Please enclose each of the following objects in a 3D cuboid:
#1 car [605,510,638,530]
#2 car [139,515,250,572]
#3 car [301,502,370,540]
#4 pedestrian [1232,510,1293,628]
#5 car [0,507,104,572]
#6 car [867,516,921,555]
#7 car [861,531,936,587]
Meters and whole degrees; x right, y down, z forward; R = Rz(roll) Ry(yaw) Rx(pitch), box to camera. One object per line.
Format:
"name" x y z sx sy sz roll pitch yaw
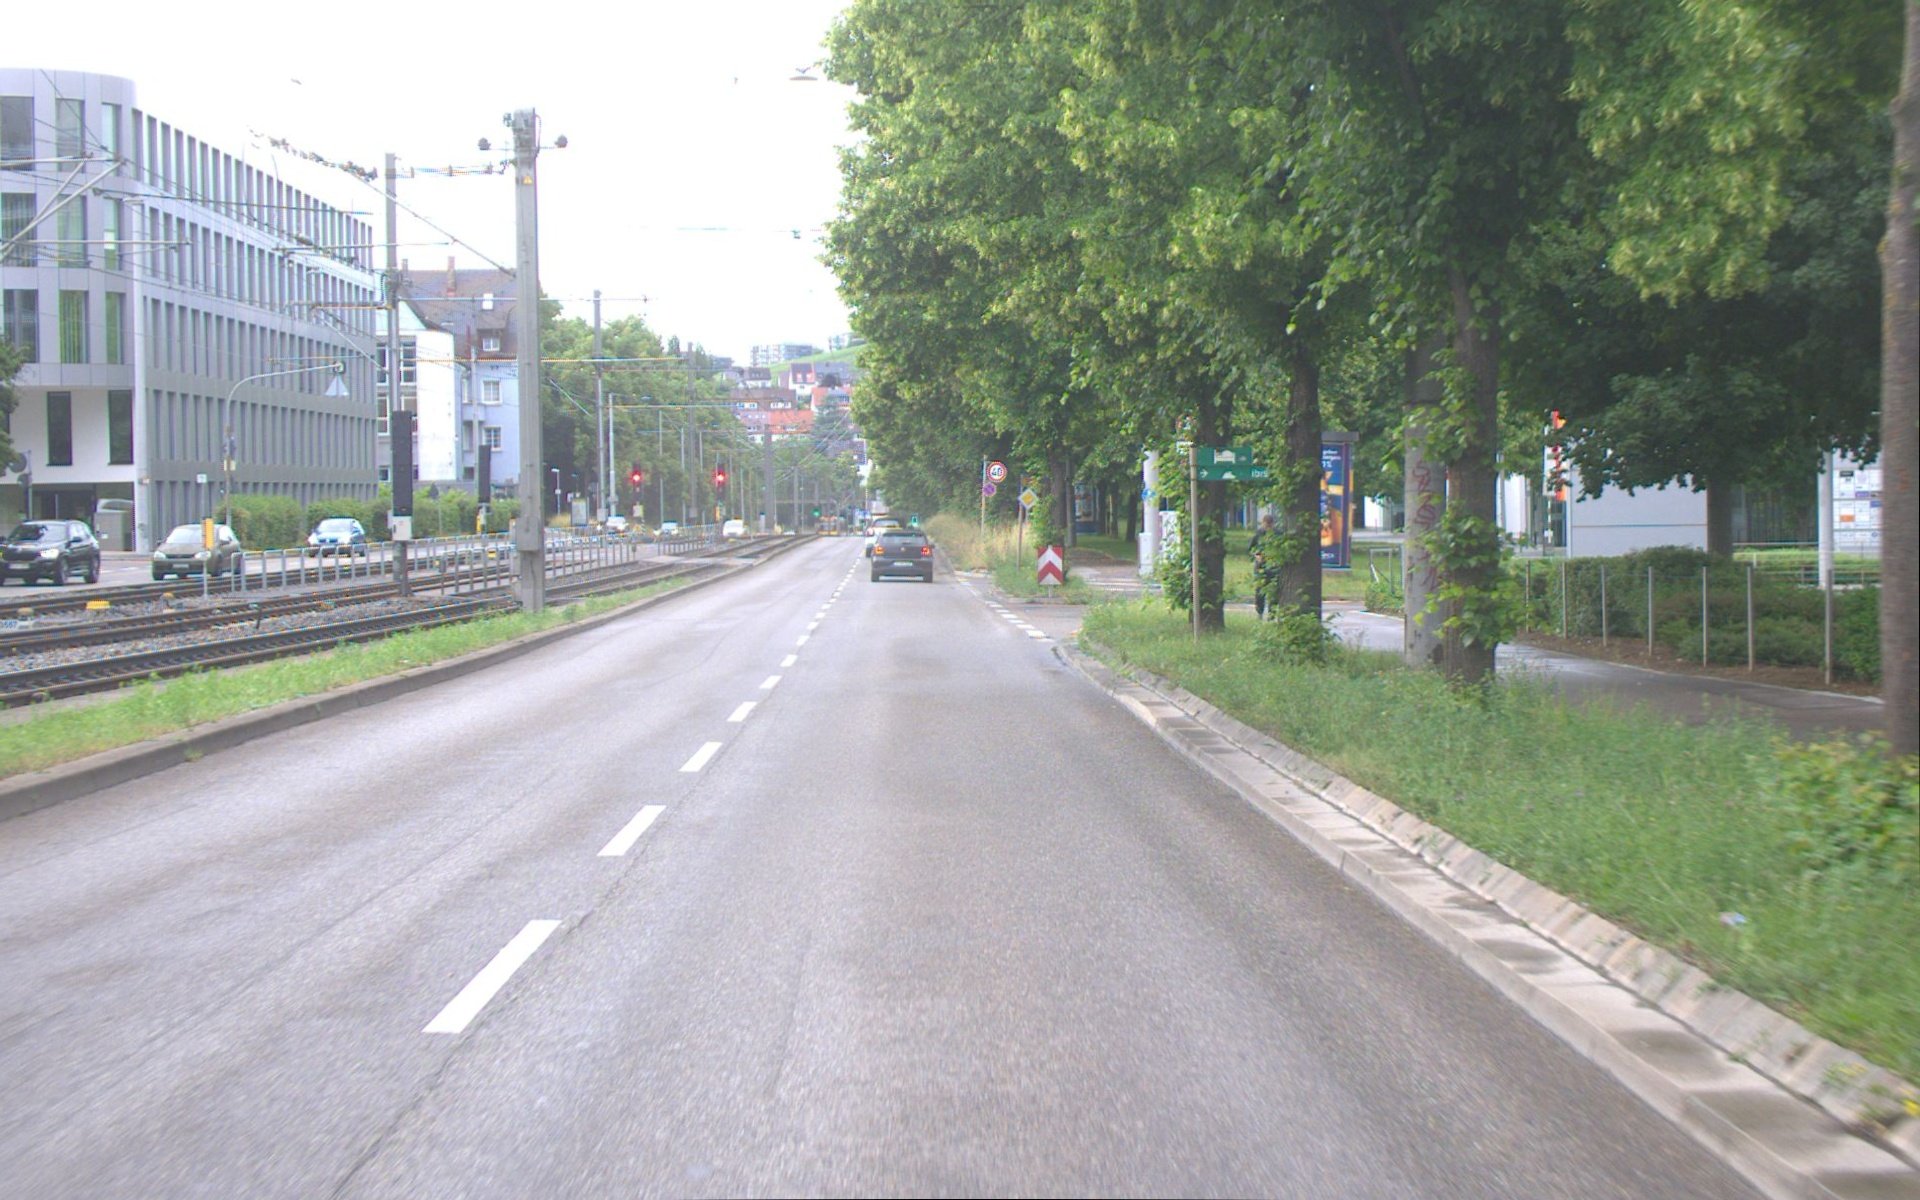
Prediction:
"car" -21.530 -5.077 218.859 1.756 1.239 3.988 0 1 -1
"car" -20.594 -1.544 92.597 1.891 1.481 4.308 0 1 2
"car" -23.260 -2.939 128.144 1.761 1.392 3.900 0 1 2
"pedestrian" 4.647 -0.481 52.802 0.826 1.791 0.868 1 1 0
"car" -23.434 -1.565 87.761 1.948 1.590 4.847 0 1 0
"car" -2.445 -2.428 128.677 1.982 1.435 4.474 0 1 -1
"car" -1.659 -1.133 93.770 1.982 1.435 4.474 0 1 -1
